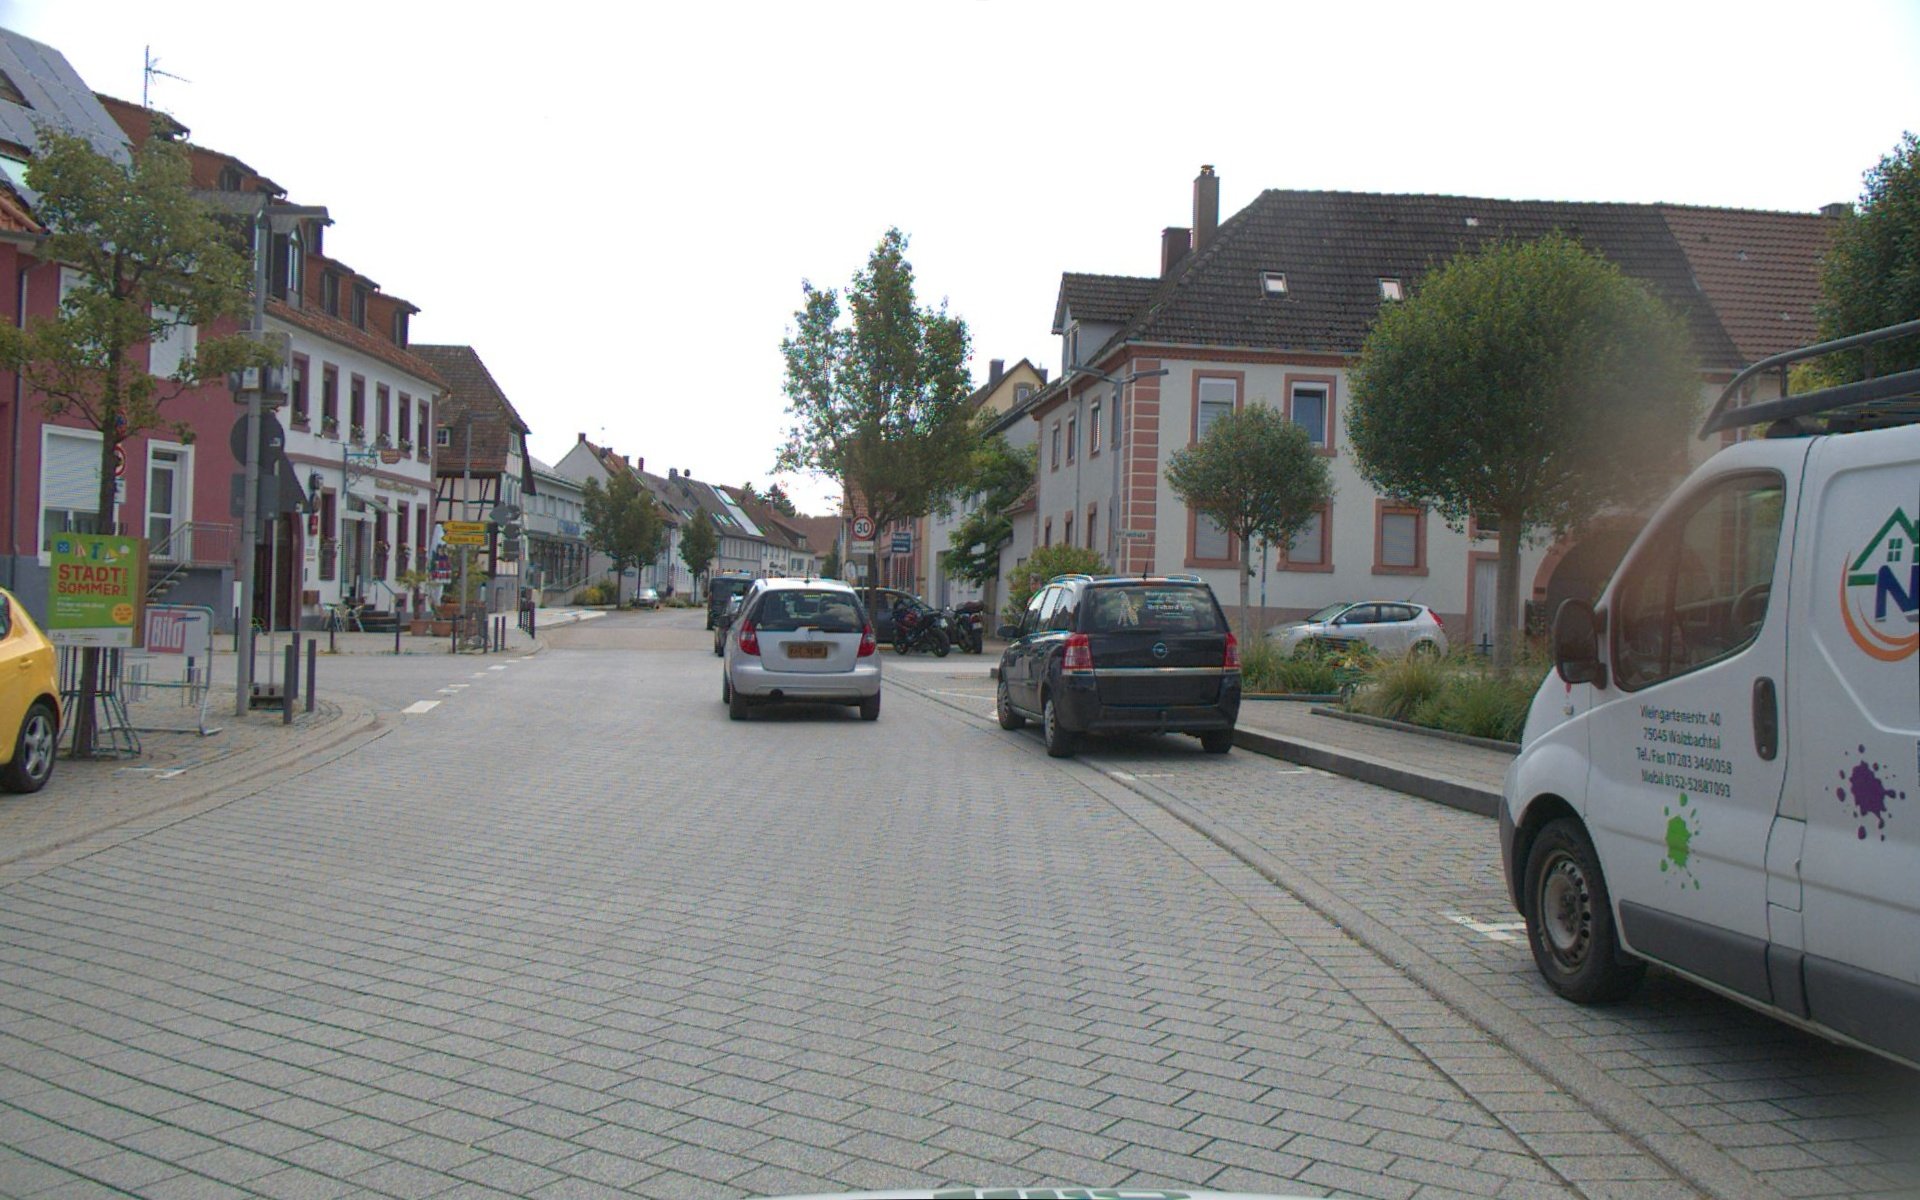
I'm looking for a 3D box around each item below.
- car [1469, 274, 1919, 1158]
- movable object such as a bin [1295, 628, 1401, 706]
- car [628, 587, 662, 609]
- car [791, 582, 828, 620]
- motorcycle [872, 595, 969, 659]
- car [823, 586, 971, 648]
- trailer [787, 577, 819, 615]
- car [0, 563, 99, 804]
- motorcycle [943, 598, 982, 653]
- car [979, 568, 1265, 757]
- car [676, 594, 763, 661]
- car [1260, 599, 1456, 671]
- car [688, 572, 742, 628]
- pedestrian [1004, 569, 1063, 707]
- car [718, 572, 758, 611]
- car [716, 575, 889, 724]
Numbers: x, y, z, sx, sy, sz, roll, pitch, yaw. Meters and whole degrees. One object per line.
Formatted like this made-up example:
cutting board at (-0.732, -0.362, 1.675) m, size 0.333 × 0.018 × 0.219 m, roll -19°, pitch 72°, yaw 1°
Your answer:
car at (3.338, 0.285, 4.346) m, size 1.905 × 2.215 × 5.093 m, roll 0°, pitch 0°, yaw -7°
movable object such as a bin at (4.730, 0.807, 20.253) m, size 0.721 × 0.881 × 1.432 m, roll 2°, pitch 0°, yaw -11°
car at (-22.322, -0.160, 117.305) m, size 1.768 × 1.486 × 4.156 m, roll 2°, pitch 0°, yaw -3°
car at (-8.351, 0.041, 91.631) m, size 1.856 × 2.017 × 4.923 m, roll -1°, pitch 0°, yaw -7°
motorcycle at (-0.928, 0.626, 38.840) m, size 2.181 × 1.419 × 0.869 m, roll 1°, pitch 0°, yaw 36°
car at (-1.721, 0.435, 44.613) m, size 3.780 × 1.605 × 1.845 m, roll 0°, pitch 0°, yaw -11°
trailer at (-10.100, -0.247, 106.252) m, size 1.810 × 2.395 × 3.583 m, roll 1°, pitch 0°, yaw -8°
car at (-6.726, 0.506, 9.623) m, size 1.636 × 1.500 × 3.958 m, roll 1°, pitch 0°, yaw -5°
motorcycle at (0.057, 0.616, 41.128) m, size 0.939 × 1.321 × 2.225 m, roll 0°, pitch 0°, yaw 0°
car at (1.422, 0.533, 16.337) m, size 1.736 × 1.592 × 4.409 m, roll 1°, pitch 0°, yaw -9°
car at (-5.708, 0.610, 39.338) m, size 1.909 × 1.432 × 3.993 m, roll 2°, pitch 0°, yaw -8°
car at (8.886, 0.769, 37.126) m, size 3.913 × 1.499 × 1.824 m, roll 1°, pitch 0°, yaw -3°
car at (-9.300, 0.010, 62.990) m, size 1.735 × 1.920 × 4.440 m, roll 4°, pitch -1°, yaw -6°
pedestrian at (0.903, 0.464, 20.409) m, size 0.626 × 1.657 × 0.620 m, roll 1°, pitch 0°, yaw -5°
car at (-13.309, -0.504, 99.340) m, size 2.192 × 2.261 × 3.996 m, roll 1°, pitch -1°, yaw -5°
car at (-2.020, 0.531, 20.253) m, size 1.737 × 1.622 × 3.989 m, roll 0°, pitch 0°, yaw -11°
